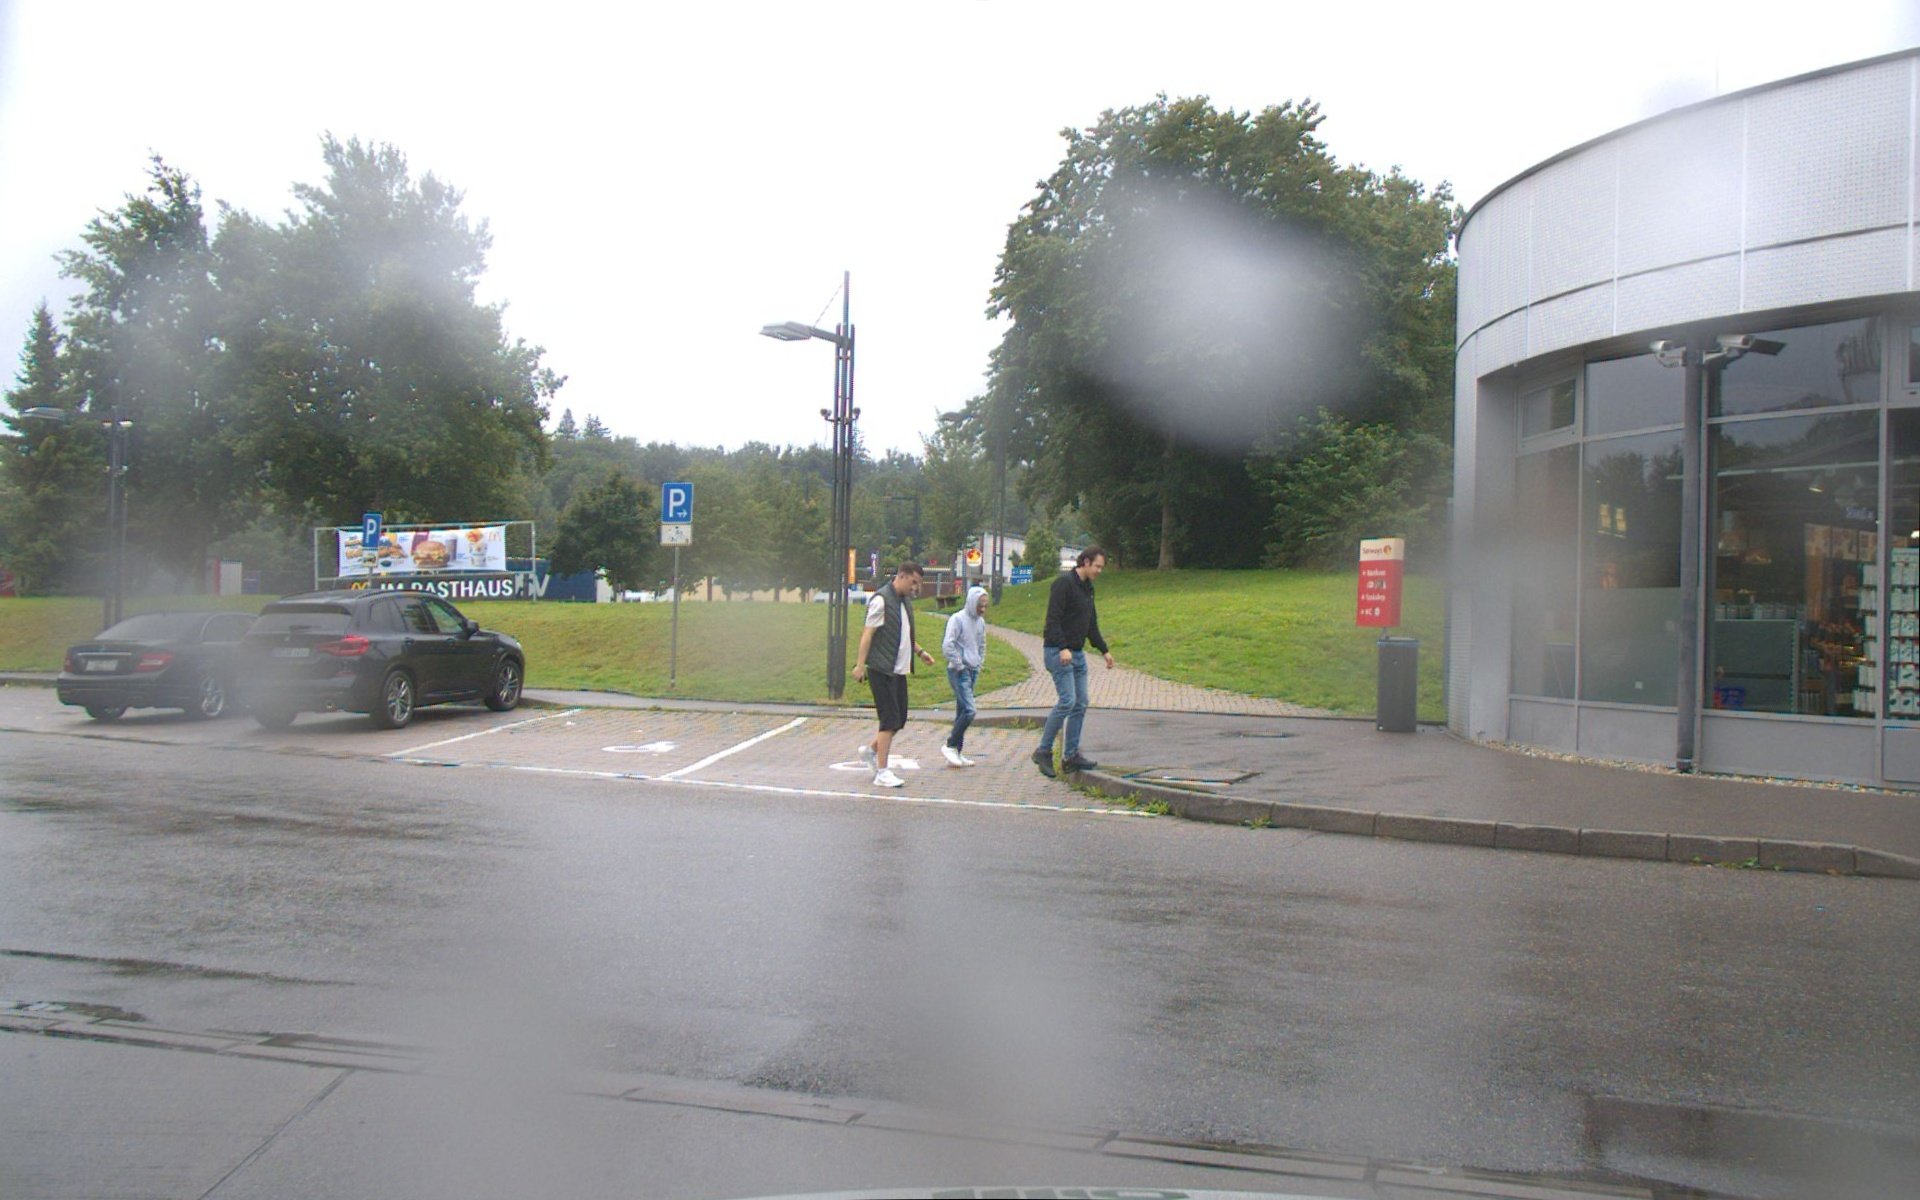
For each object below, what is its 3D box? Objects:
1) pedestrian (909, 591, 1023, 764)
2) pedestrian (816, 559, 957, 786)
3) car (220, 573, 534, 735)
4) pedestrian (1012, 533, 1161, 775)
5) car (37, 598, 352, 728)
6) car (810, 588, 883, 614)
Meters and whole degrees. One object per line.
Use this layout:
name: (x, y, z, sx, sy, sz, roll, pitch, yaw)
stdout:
pedestrian: (0.060, 0.703, 15.564, 0.872, 1.577, 0.659, 0, 0, 29)
pedestrian: (-0.631, 0.599, 14.266, 0.954, 1.880, 0.772, 0, 0, 28)
car: (-7.330, 0.611, 21.325, 1.844, 1.860, 4.417, 0, 0, 11)
pedestrian: (1.042, 0.424, 13.555, 0.979, 1.897, 0.798, 0, 0, 28)
car: (-10.355, 0.783, 22.764, 1.844, 1.592, 4.189, 0, 0, 11)
car: (-9.161, 0.072, 133.634, 5.310, 2.049, 2.456, 1, 0, 19)
